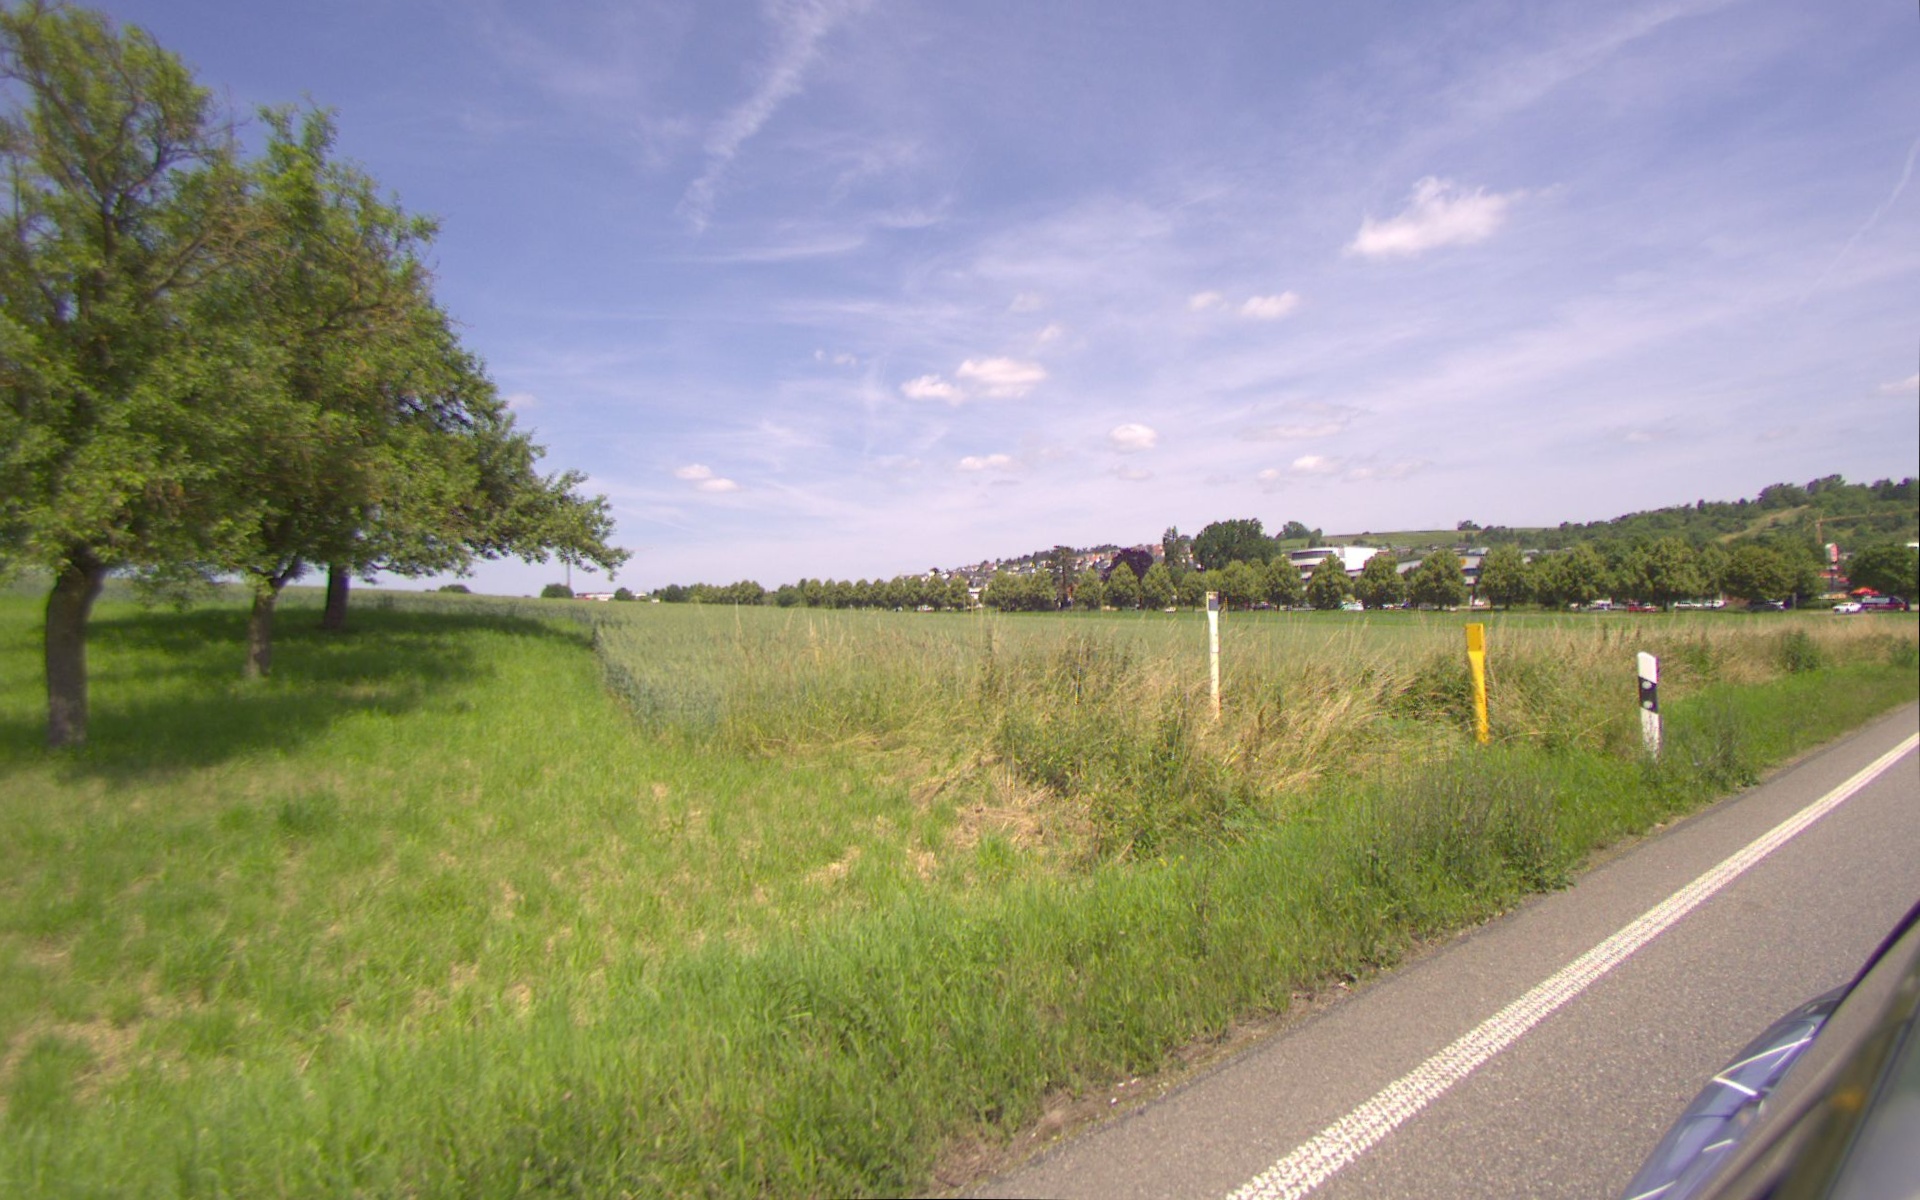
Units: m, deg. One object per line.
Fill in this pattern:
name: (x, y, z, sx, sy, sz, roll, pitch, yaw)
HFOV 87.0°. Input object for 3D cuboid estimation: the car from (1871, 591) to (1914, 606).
car: (133.792, -0.240, 145.231, 1.857, 2.039, 4.459, -1, 1, -45)
